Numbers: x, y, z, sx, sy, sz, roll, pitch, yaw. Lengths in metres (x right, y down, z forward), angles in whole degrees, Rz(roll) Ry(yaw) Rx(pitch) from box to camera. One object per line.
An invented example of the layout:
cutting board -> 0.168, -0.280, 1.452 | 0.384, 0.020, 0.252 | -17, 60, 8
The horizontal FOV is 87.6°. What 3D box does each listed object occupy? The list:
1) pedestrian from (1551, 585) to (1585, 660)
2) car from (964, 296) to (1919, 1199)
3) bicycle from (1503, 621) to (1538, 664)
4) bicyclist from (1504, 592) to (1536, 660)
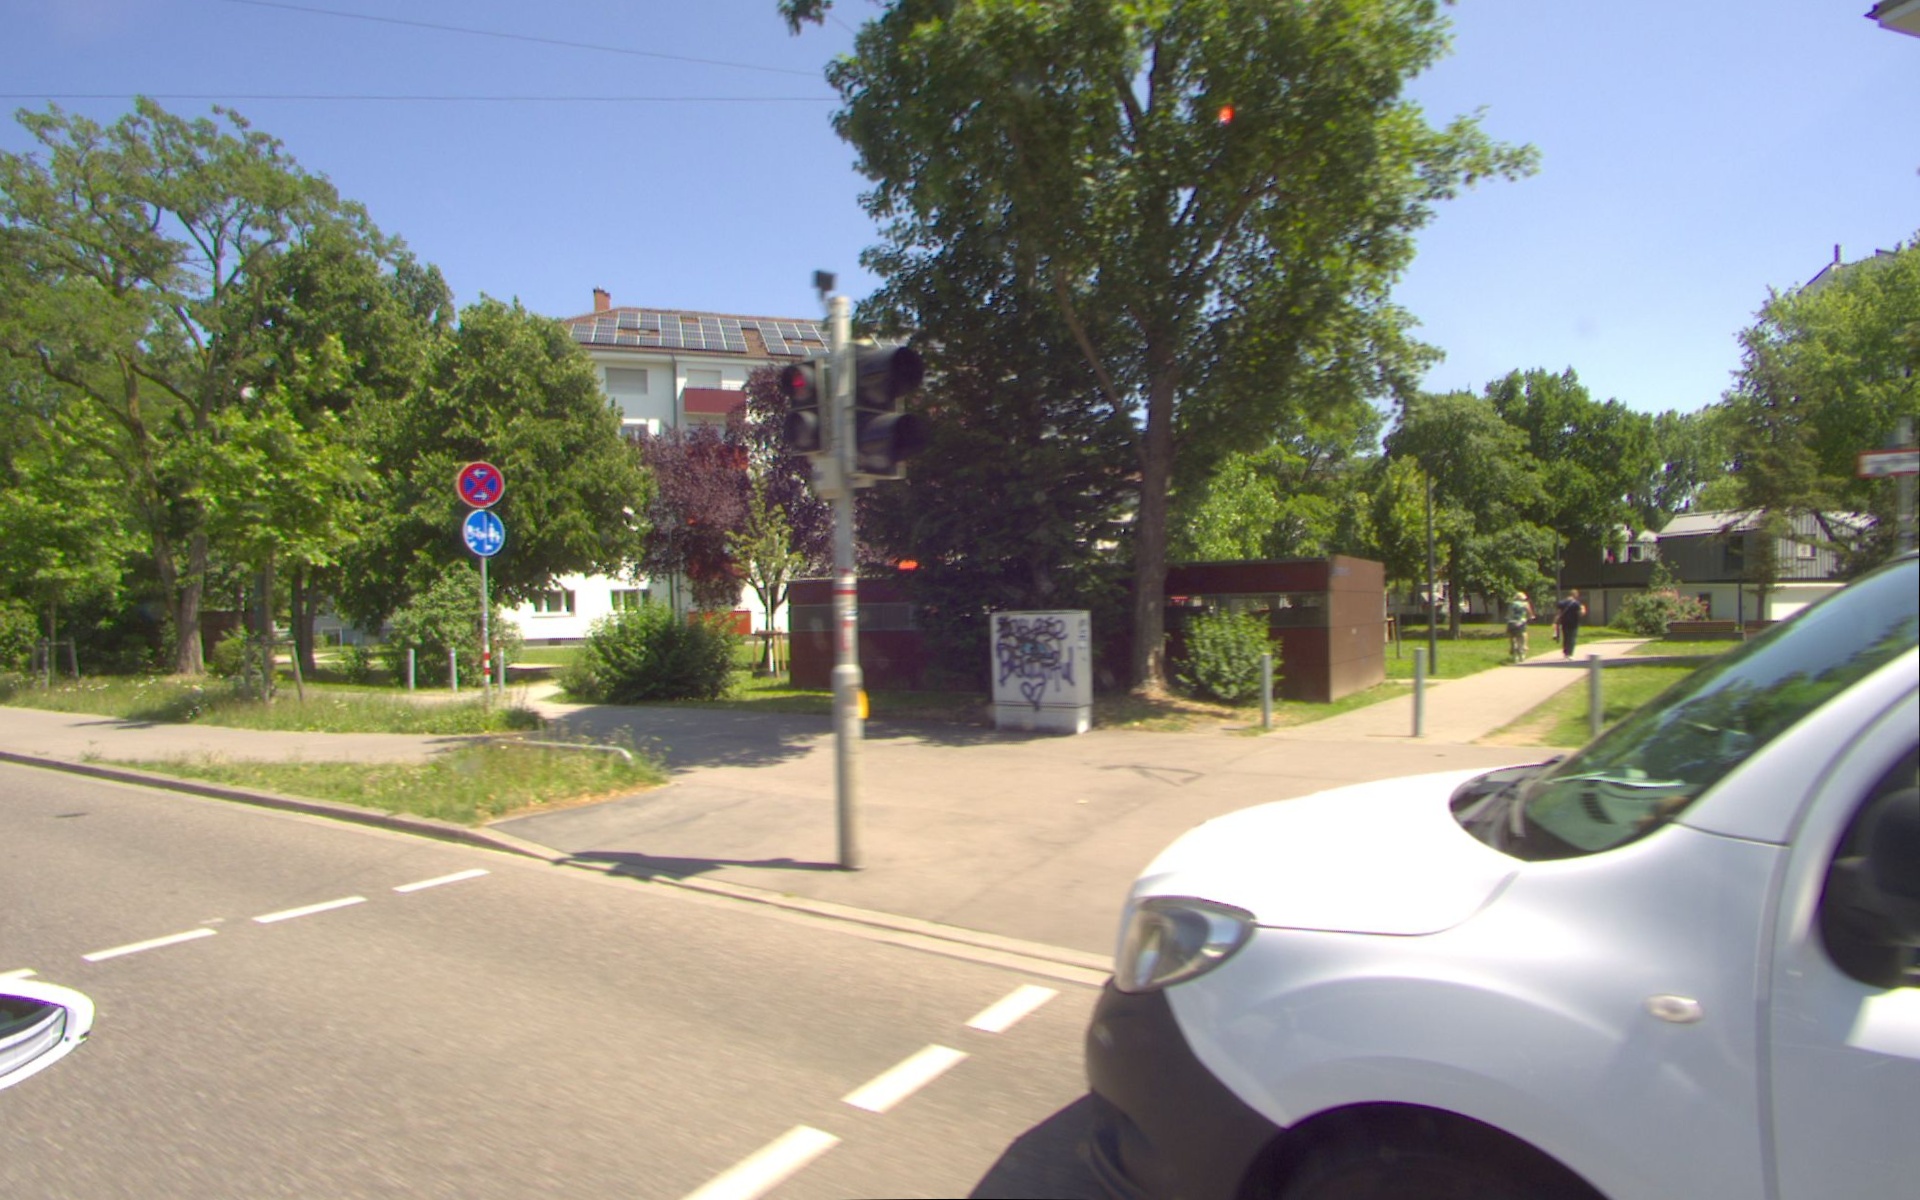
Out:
pedestrian -> 15.960, 0.593, 26.290 | 0.745, 1.943, 0.884 | -1, -1, 32
car -> 2.586, 0.565, 1.413 | 5.011, 1.879, 1.801 | -1, -2, 33
bicycle -> 14.170, 1.075, 25.309 | 0.667, 1.057, 1.115 | -1, -2, 35
bicyclist -> 14.188, 0.661, 25.385 | 0.644, 1.680, 0.609 | -1, -1, 35
